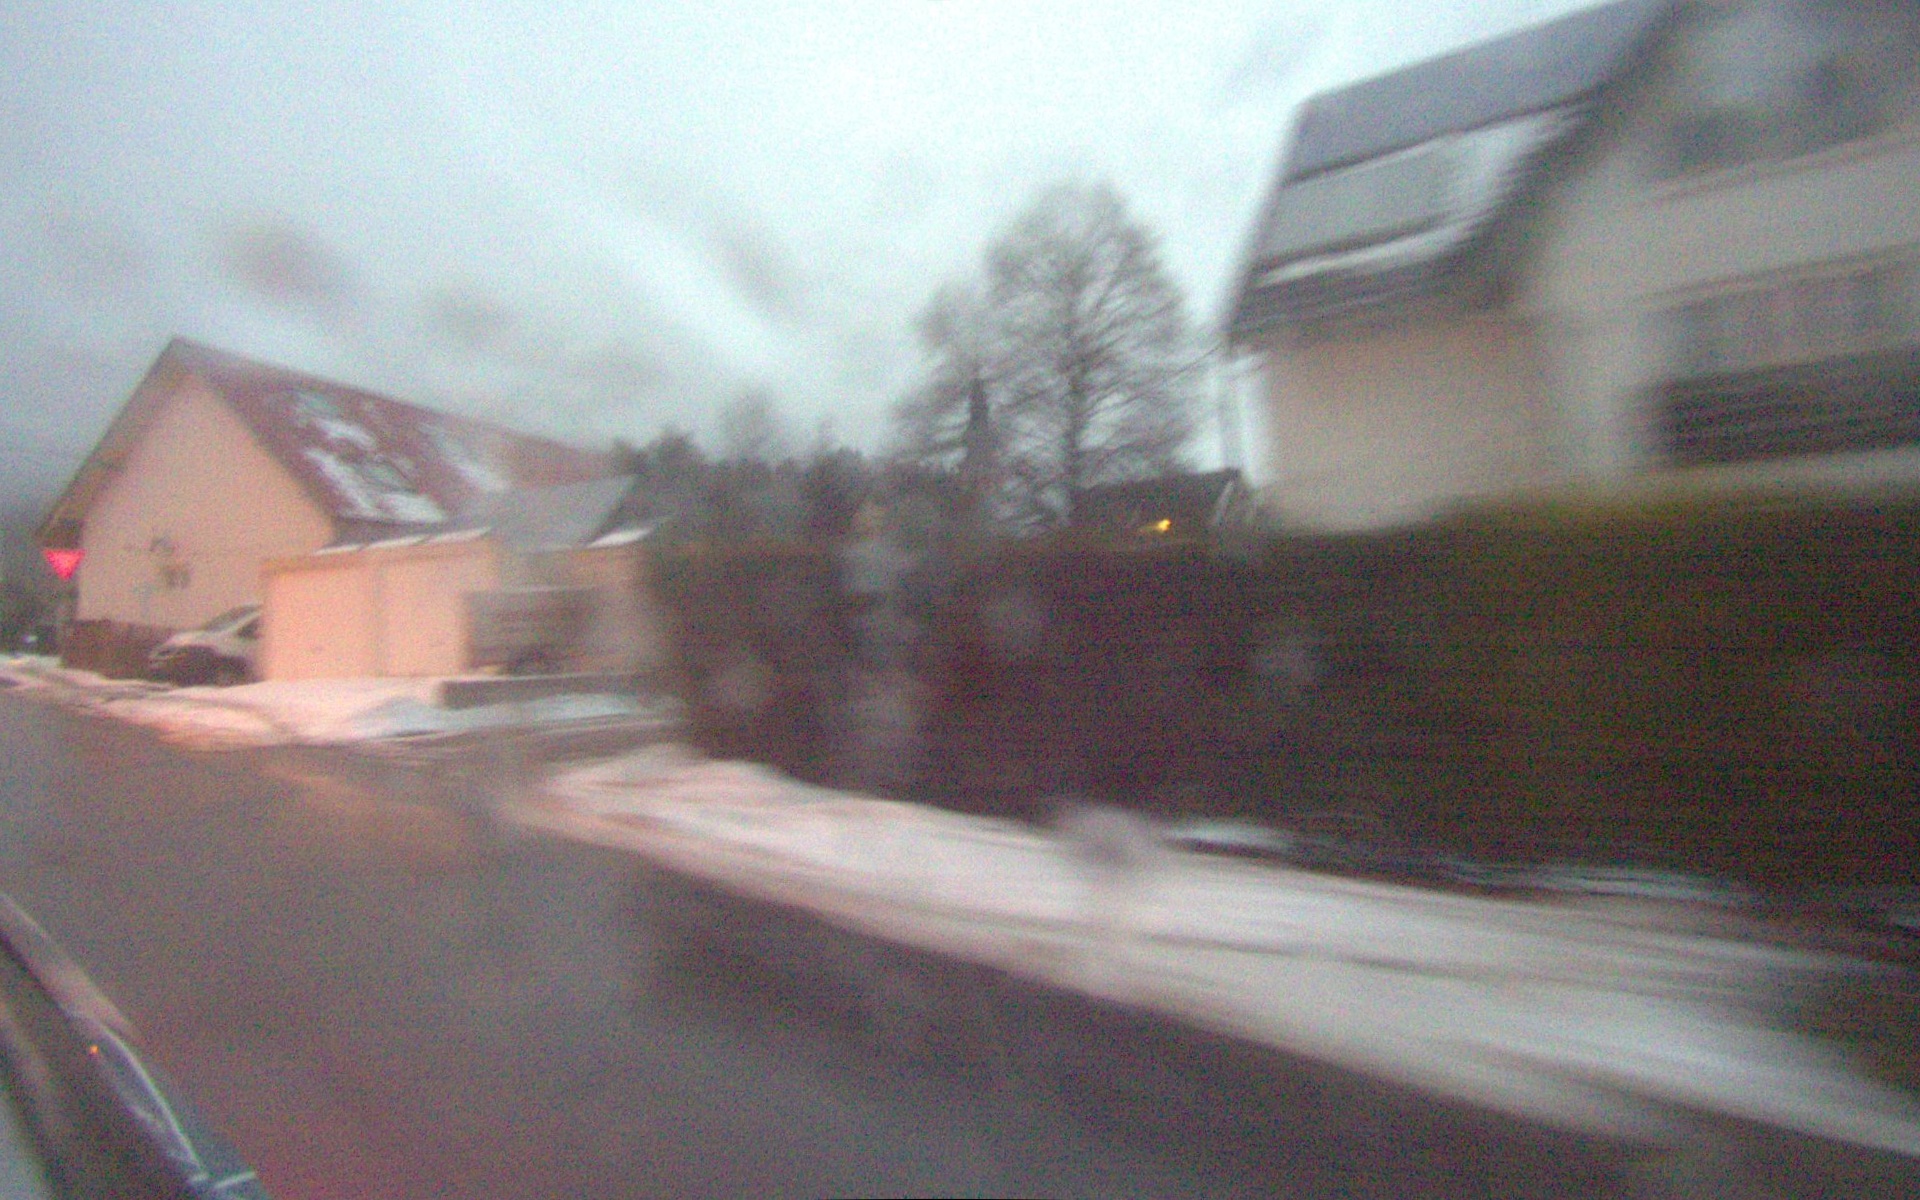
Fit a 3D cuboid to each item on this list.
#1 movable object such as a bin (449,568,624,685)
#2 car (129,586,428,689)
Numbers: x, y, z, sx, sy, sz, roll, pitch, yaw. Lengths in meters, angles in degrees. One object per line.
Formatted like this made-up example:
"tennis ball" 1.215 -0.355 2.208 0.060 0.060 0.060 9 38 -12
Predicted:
"movable object such as a bin" -6.843 0.389 16.362 2.331 1.661 1.445 -4 1 -32
"car" -15.419 0.793 23.239 2.209 2.029 5.218 2 0 33
